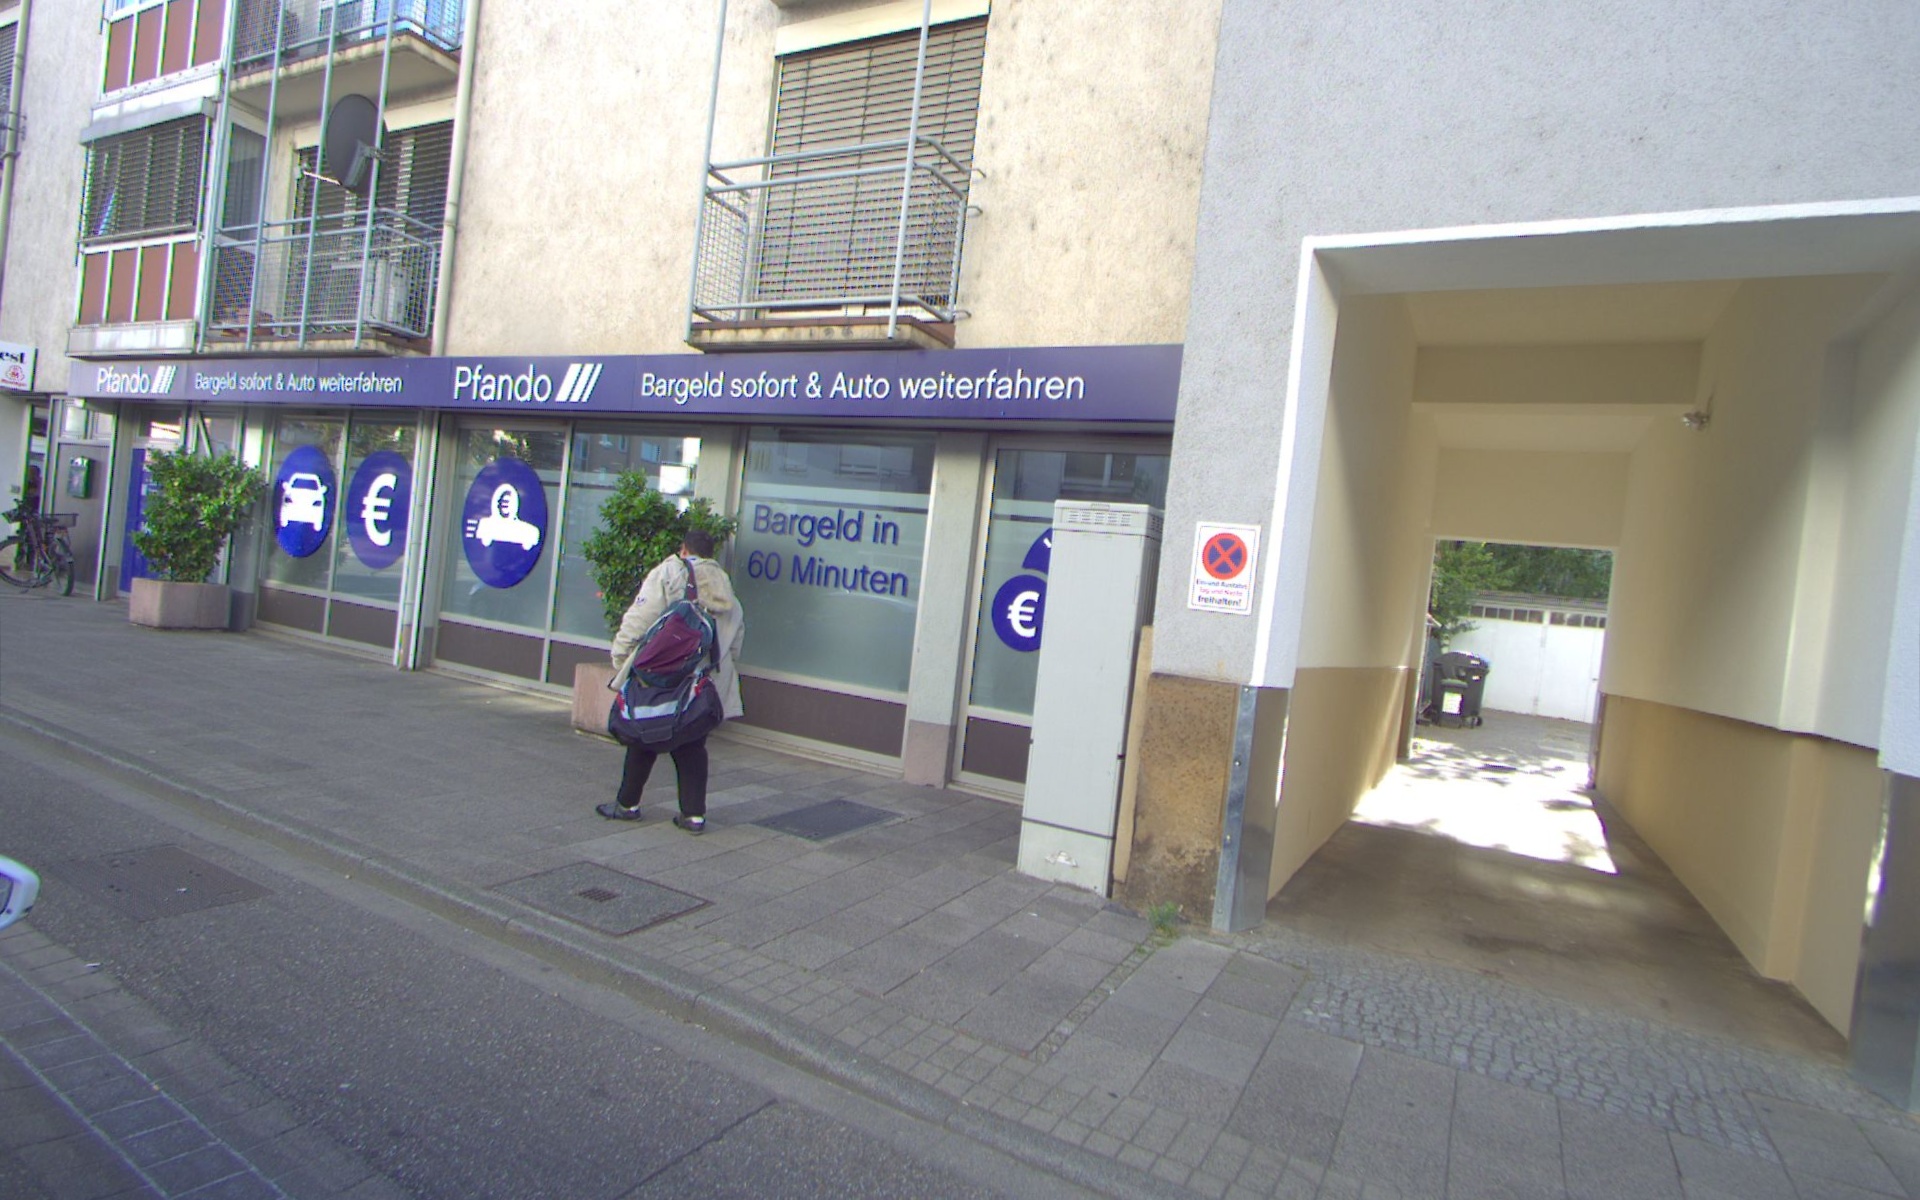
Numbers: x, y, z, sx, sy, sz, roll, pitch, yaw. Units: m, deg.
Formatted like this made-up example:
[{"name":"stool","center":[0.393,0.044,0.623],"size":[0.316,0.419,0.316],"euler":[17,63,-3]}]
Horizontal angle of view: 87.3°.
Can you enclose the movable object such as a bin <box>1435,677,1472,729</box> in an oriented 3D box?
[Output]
[{"name":"movable object such as a bin","center":[9.549,1.983,19.459],"size":[0.518,0.922,0.580],"euler":[7,1,29]}]

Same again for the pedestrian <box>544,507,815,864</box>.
[{"name":"pedestrian","center":[-1.429,0.390,5.190],"size":[0.853,1.593,0.874],"euler":[8,3,29]}]

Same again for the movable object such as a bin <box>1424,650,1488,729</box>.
[{"name":"movable object such as a bin","center":[10.101,1.791,20.462],"size":[0.945,1.426,1.598],"euler":[7,1,29]}]

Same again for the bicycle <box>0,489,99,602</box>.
[{"name":"bicycle","center":[-11.855,-0.727,12.883],"size":[1.879,1.280,0.640],"euler":[7,1,32]}]
